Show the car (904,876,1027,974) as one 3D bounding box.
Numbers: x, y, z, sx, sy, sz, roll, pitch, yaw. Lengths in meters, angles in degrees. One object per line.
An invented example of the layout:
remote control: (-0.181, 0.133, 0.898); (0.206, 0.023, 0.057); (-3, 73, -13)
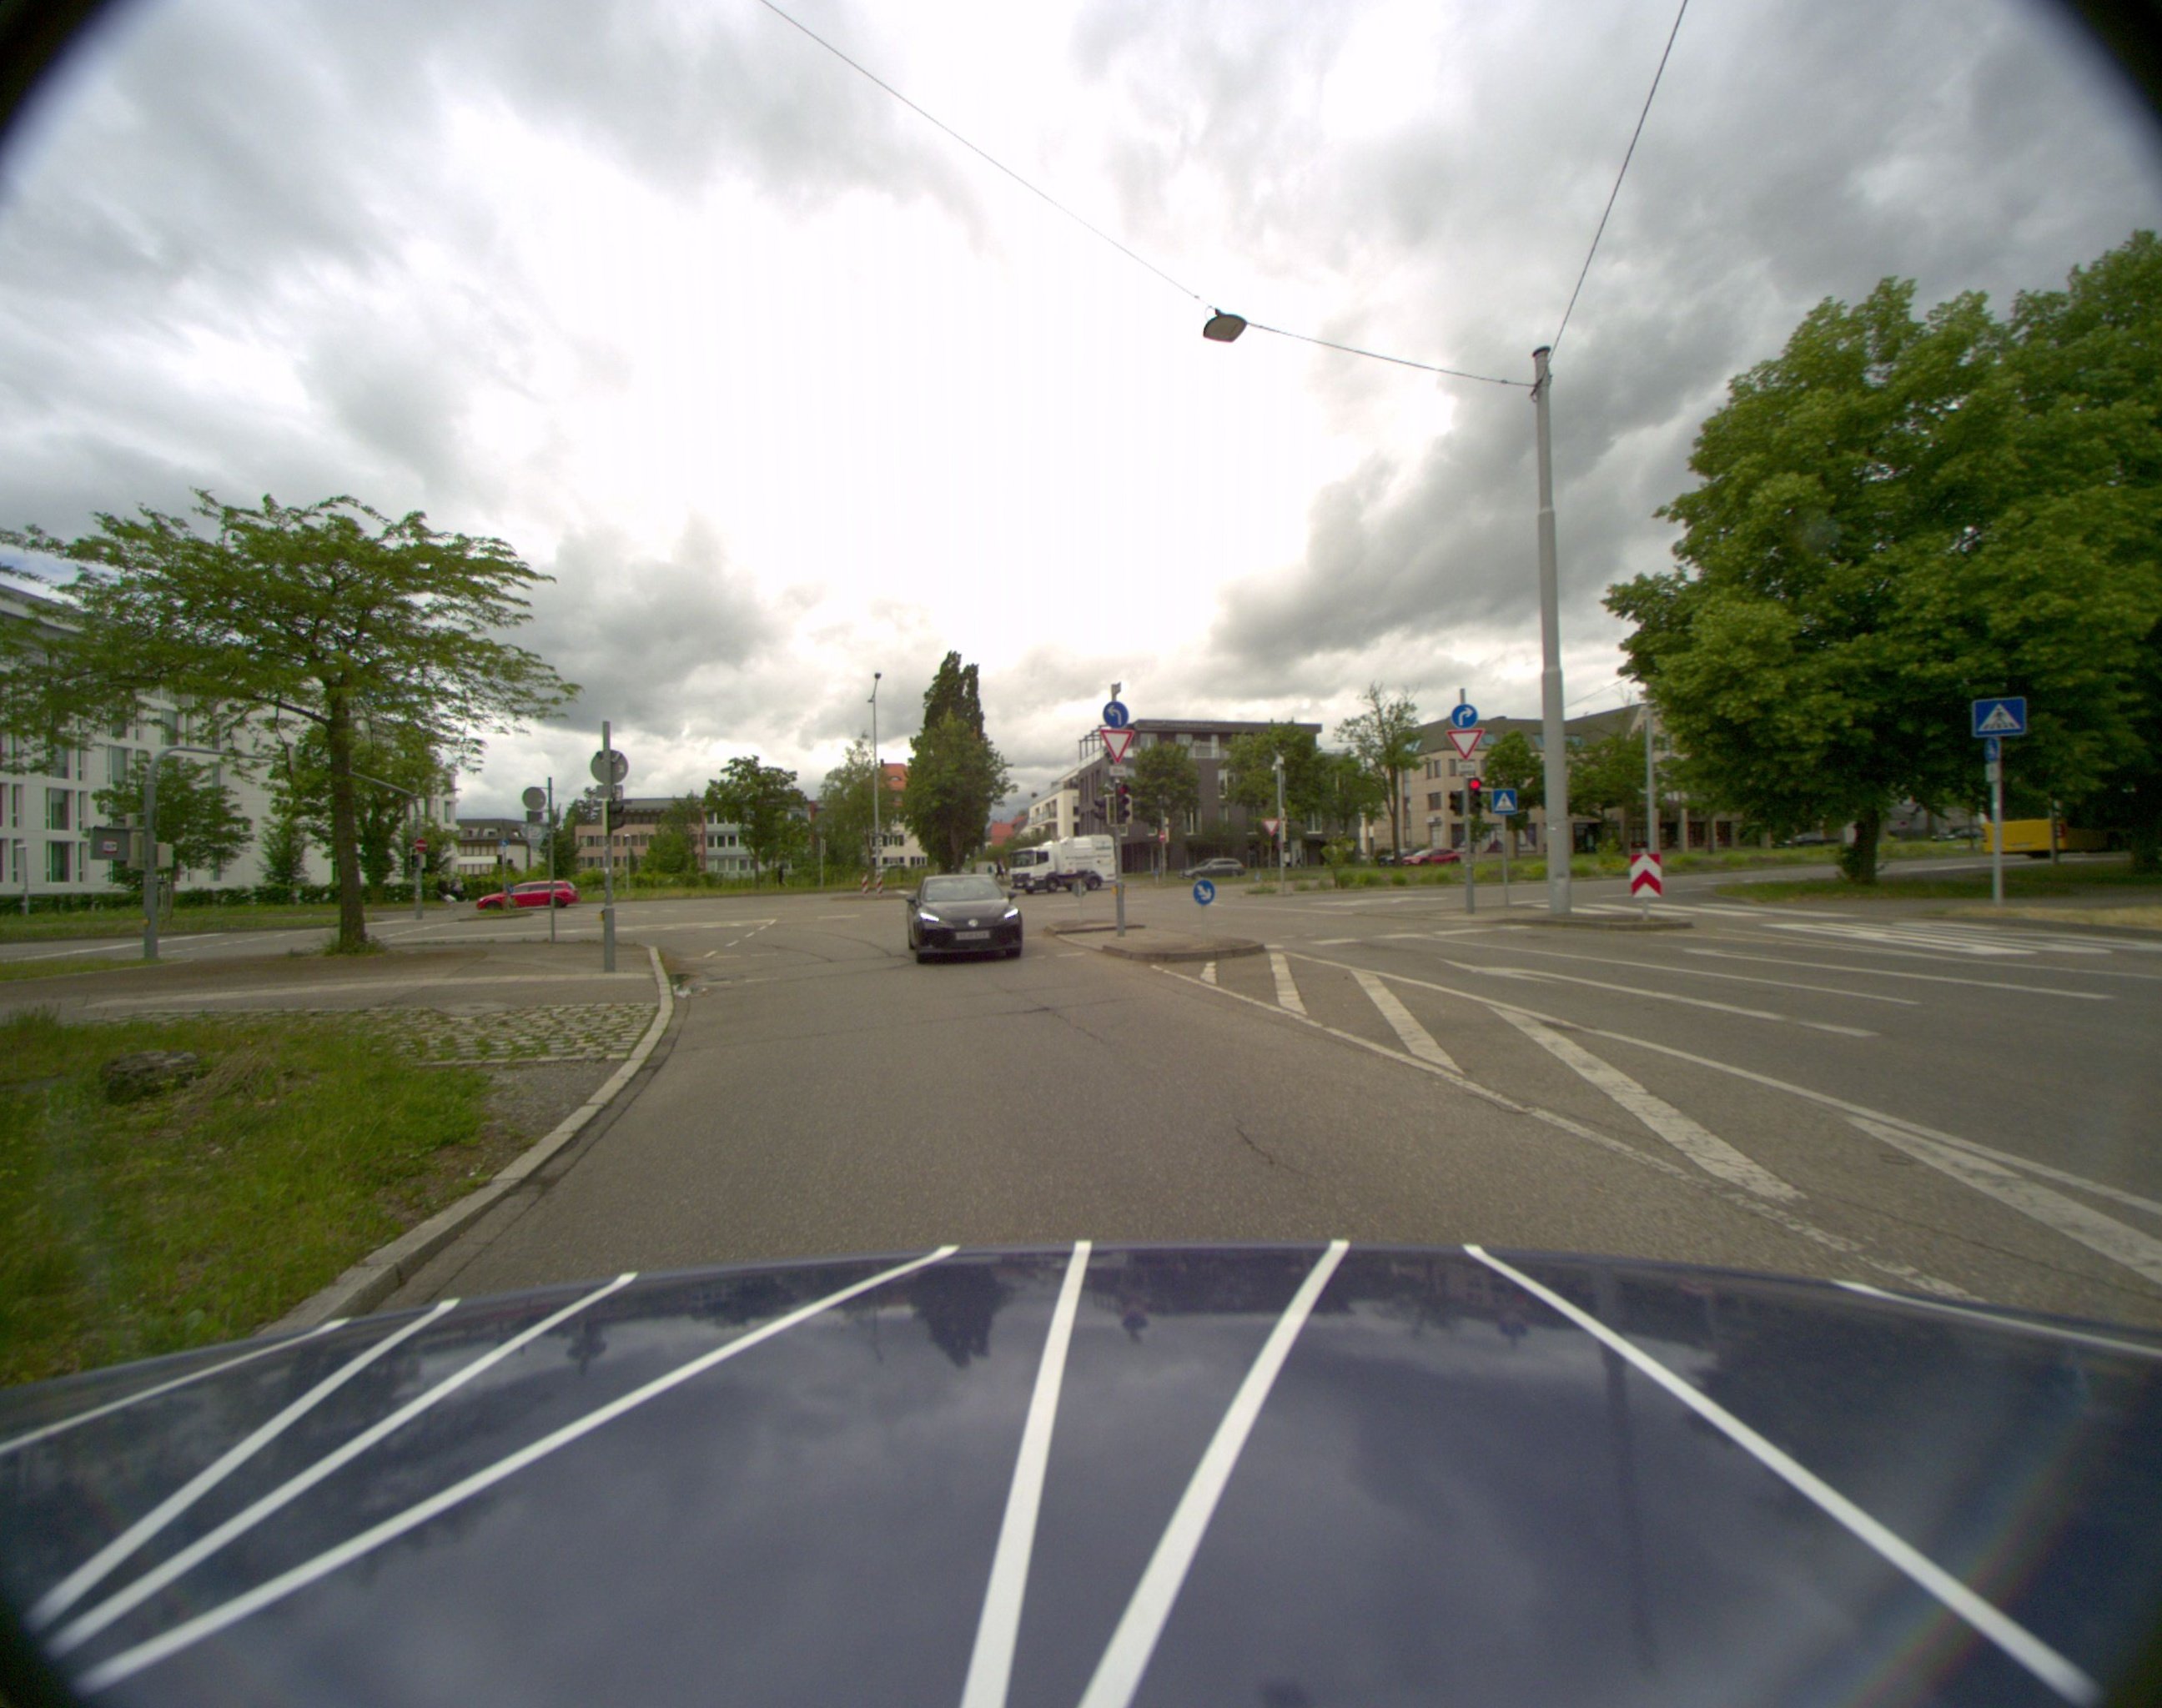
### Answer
car: (-2.296, 1.192, 14.220); (1.802, 1.474, 4.015); (-2, -1, -15)

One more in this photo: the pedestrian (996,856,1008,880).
pedestrian: (-5.947, 1.057, 57.359); (0.750, 1.786, 0.671); (-4, -1, -11)

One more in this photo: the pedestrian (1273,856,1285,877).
pedestrian: (16.850, 1.101, 64.651); (0.649, 1.735, 0.693); (-3, -1, -21)

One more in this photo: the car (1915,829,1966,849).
car: (89.218, -1.525, 78.884); (4.003, 1.805, 1.998); (-3, -1, -18)

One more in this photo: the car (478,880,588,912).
car: (-29.003, 2.210, 40.402); (4.361, 1.415, 1.996); (-2, 0, -23)

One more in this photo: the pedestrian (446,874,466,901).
pedestrian: (-38.300, 2.038, 46.552); (0.707, 1.616, 0.566); (-4, -1, 8)

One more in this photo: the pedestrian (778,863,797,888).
pedestrian: (-20.417, 1.484, 52.880); (1.004, 1.685, 0.607); (-3, -1, -32)

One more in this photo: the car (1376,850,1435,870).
car: (25.872, 0.456, 60.627); (3.902, 1.476, 1.771); (-1, -2, -6)

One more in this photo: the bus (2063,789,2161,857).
bus: (53.517, -1.636, 37.029); (9.699, 2.990, 3.051); (-3, -1, -13)

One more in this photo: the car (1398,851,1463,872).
car: (26.500, 0.544, 57.685); (4.381, 1.476, 1.824); (0, -2, -18)

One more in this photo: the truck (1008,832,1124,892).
truck: (-0.782, 0.373, 43.798); (6.478, 3.177, 2.431); (-2, 2, -38)

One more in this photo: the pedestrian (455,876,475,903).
pedestrian: (-38.406, 2.190, 47.373); (0.660, 1.616, 0.689); (-4, -1, 33)

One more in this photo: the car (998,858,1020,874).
car: (-8.669, 1.478, 91.454); (1.878, 1.630, 3.824); (-3, -1, -16)

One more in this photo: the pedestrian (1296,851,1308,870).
pedestrian: (19.319, 0.571, 66.448); (0.598, 1.610, 0.693); (-3, -1, -16)

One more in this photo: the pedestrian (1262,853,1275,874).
pedestrian: (16.094, 0.817, 65.215); (0.699, 1.735, 0.693); (-3, -1, -21)

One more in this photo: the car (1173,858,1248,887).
car: (8.943, 1.287, 52.525); (4.607, 1.684, 1.998); (-3, -1, -19)

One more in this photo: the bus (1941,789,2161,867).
bus: (44.704, -1.160, 34.950); (8.432, 2.990, 3.051); (-3, -1, -13)

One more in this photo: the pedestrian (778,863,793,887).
pedestrian: (-20.768, 1.479, 53.406); (0.833, 1.685, 0.615); (-3, -1, -32)

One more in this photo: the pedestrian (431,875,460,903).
pedestrian: (-38.331, 2.129, 45.820); (1.033, 1.616, 0.734); (-4, -1, 5)

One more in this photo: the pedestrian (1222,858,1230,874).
pedestrian: (12.445, 1.007, 65.298); (0.535, 1.349, 0.659); (-4, -1, 9)
